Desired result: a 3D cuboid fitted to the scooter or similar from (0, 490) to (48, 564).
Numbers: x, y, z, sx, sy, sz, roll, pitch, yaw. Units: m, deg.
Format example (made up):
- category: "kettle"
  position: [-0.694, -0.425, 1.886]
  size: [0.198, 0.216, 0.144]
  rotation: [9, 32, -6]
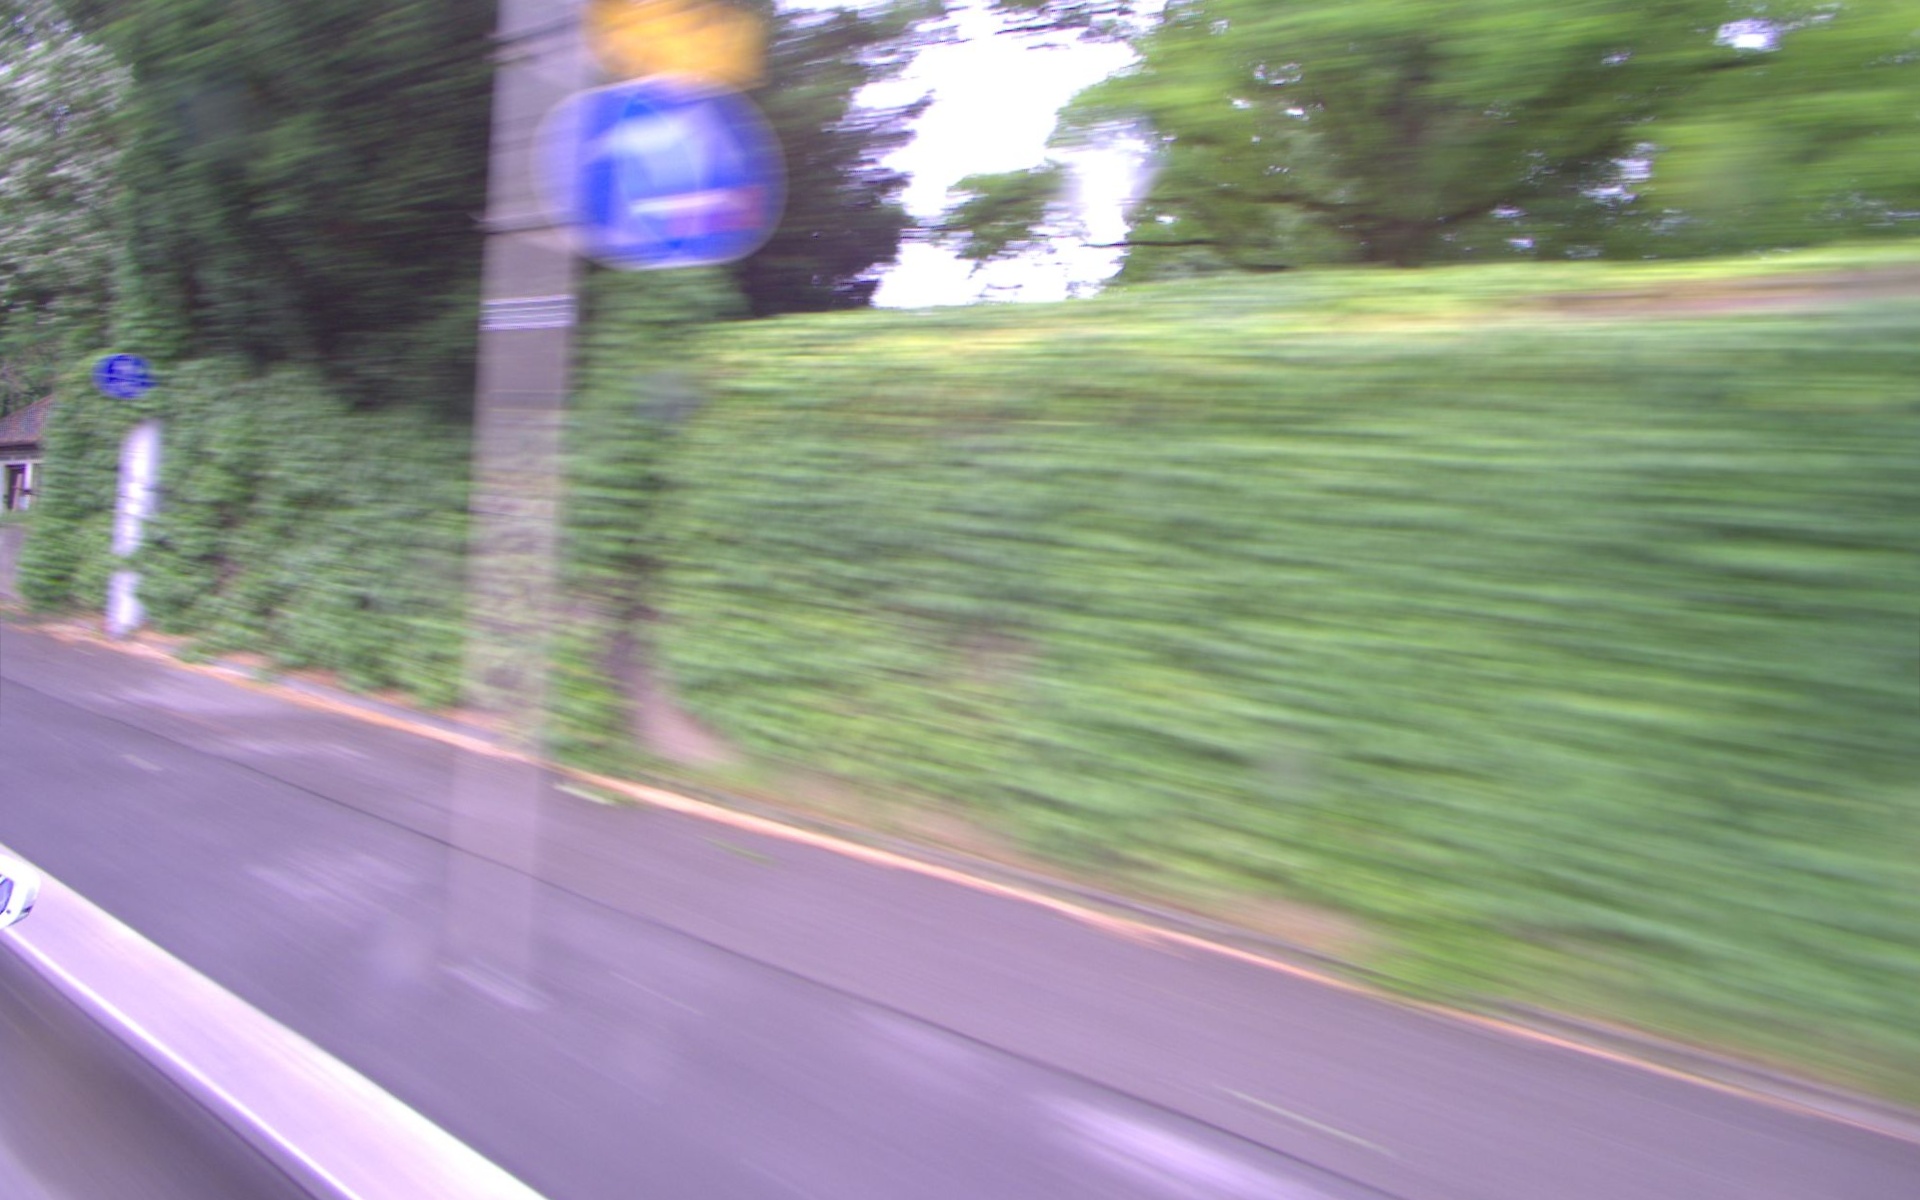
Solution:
- category: "scooter or similar"
  position: [-16.824, -1.316, 17.979]
  size: [1.294, 1.247, 0.513]
  rotation: [6, 3, 37]
